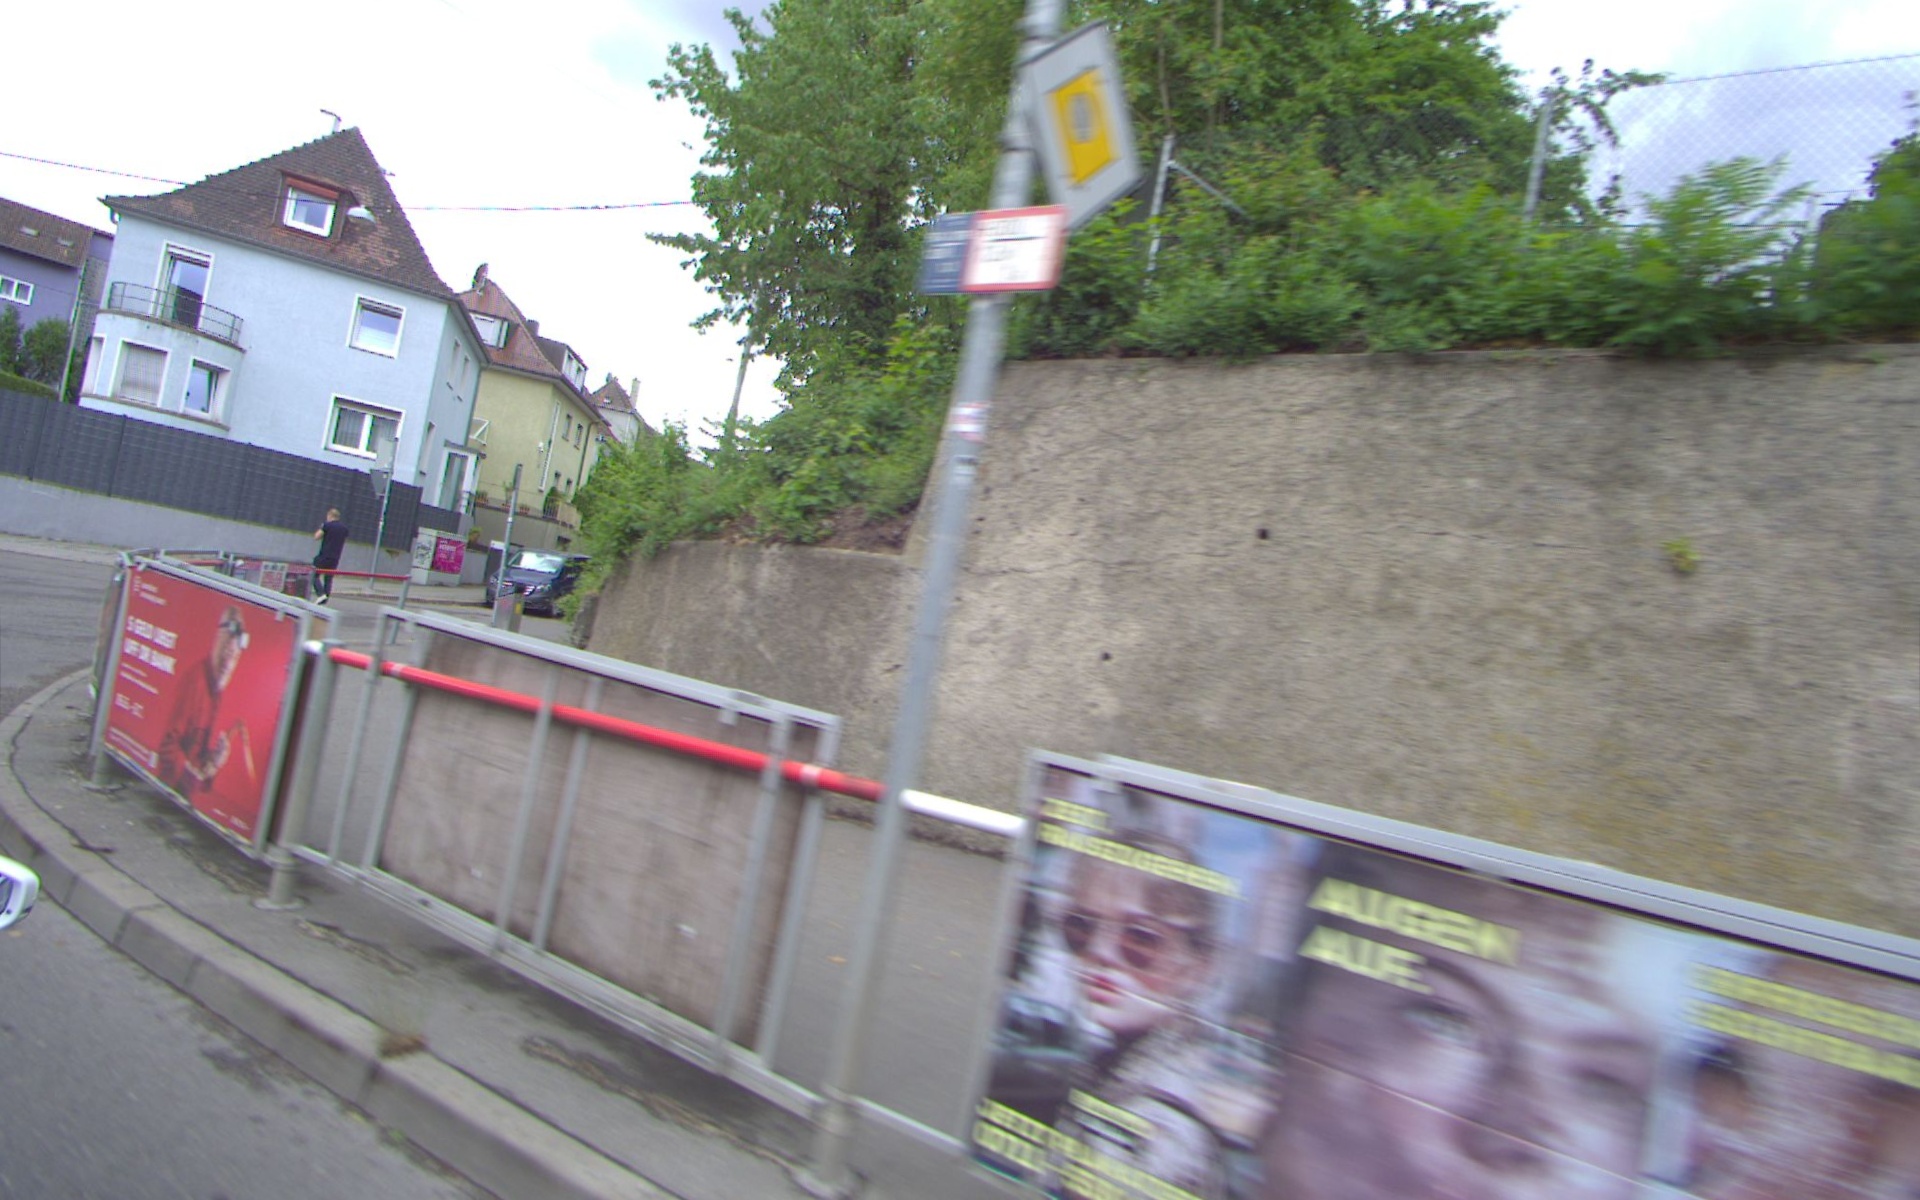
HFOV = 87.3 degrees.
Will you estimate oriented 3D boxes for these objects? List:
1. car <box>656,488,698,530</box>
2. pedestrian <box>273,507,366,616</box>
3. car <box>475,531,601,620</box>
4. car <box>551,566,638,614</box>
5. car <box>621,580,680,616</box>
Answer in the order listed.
[{"bbox_3d":[-19.485,-6.232,69.442,1.966,2.035,3.999,8,-3,-8],"label":"car"},{"bbox_3d":[-11.885,-0.695,18.694,0.999,1.832,0.819,9,0,-13],"label":"pedestrian"},{"bbox_3d":[-12.355,-0.632,29.767,2.053,2.035,4.002,8,-3,-5],"label":"car"},{"bbox_3d":[-12.887,-0.341,35.728,1.740,1.376,3.996,8,0,-5],"label":"car"},{"bbox_3d":[-14.889,-0.076,48.618,1.966,1.358,3.804,9,-2,-8],"label":"car"}]
